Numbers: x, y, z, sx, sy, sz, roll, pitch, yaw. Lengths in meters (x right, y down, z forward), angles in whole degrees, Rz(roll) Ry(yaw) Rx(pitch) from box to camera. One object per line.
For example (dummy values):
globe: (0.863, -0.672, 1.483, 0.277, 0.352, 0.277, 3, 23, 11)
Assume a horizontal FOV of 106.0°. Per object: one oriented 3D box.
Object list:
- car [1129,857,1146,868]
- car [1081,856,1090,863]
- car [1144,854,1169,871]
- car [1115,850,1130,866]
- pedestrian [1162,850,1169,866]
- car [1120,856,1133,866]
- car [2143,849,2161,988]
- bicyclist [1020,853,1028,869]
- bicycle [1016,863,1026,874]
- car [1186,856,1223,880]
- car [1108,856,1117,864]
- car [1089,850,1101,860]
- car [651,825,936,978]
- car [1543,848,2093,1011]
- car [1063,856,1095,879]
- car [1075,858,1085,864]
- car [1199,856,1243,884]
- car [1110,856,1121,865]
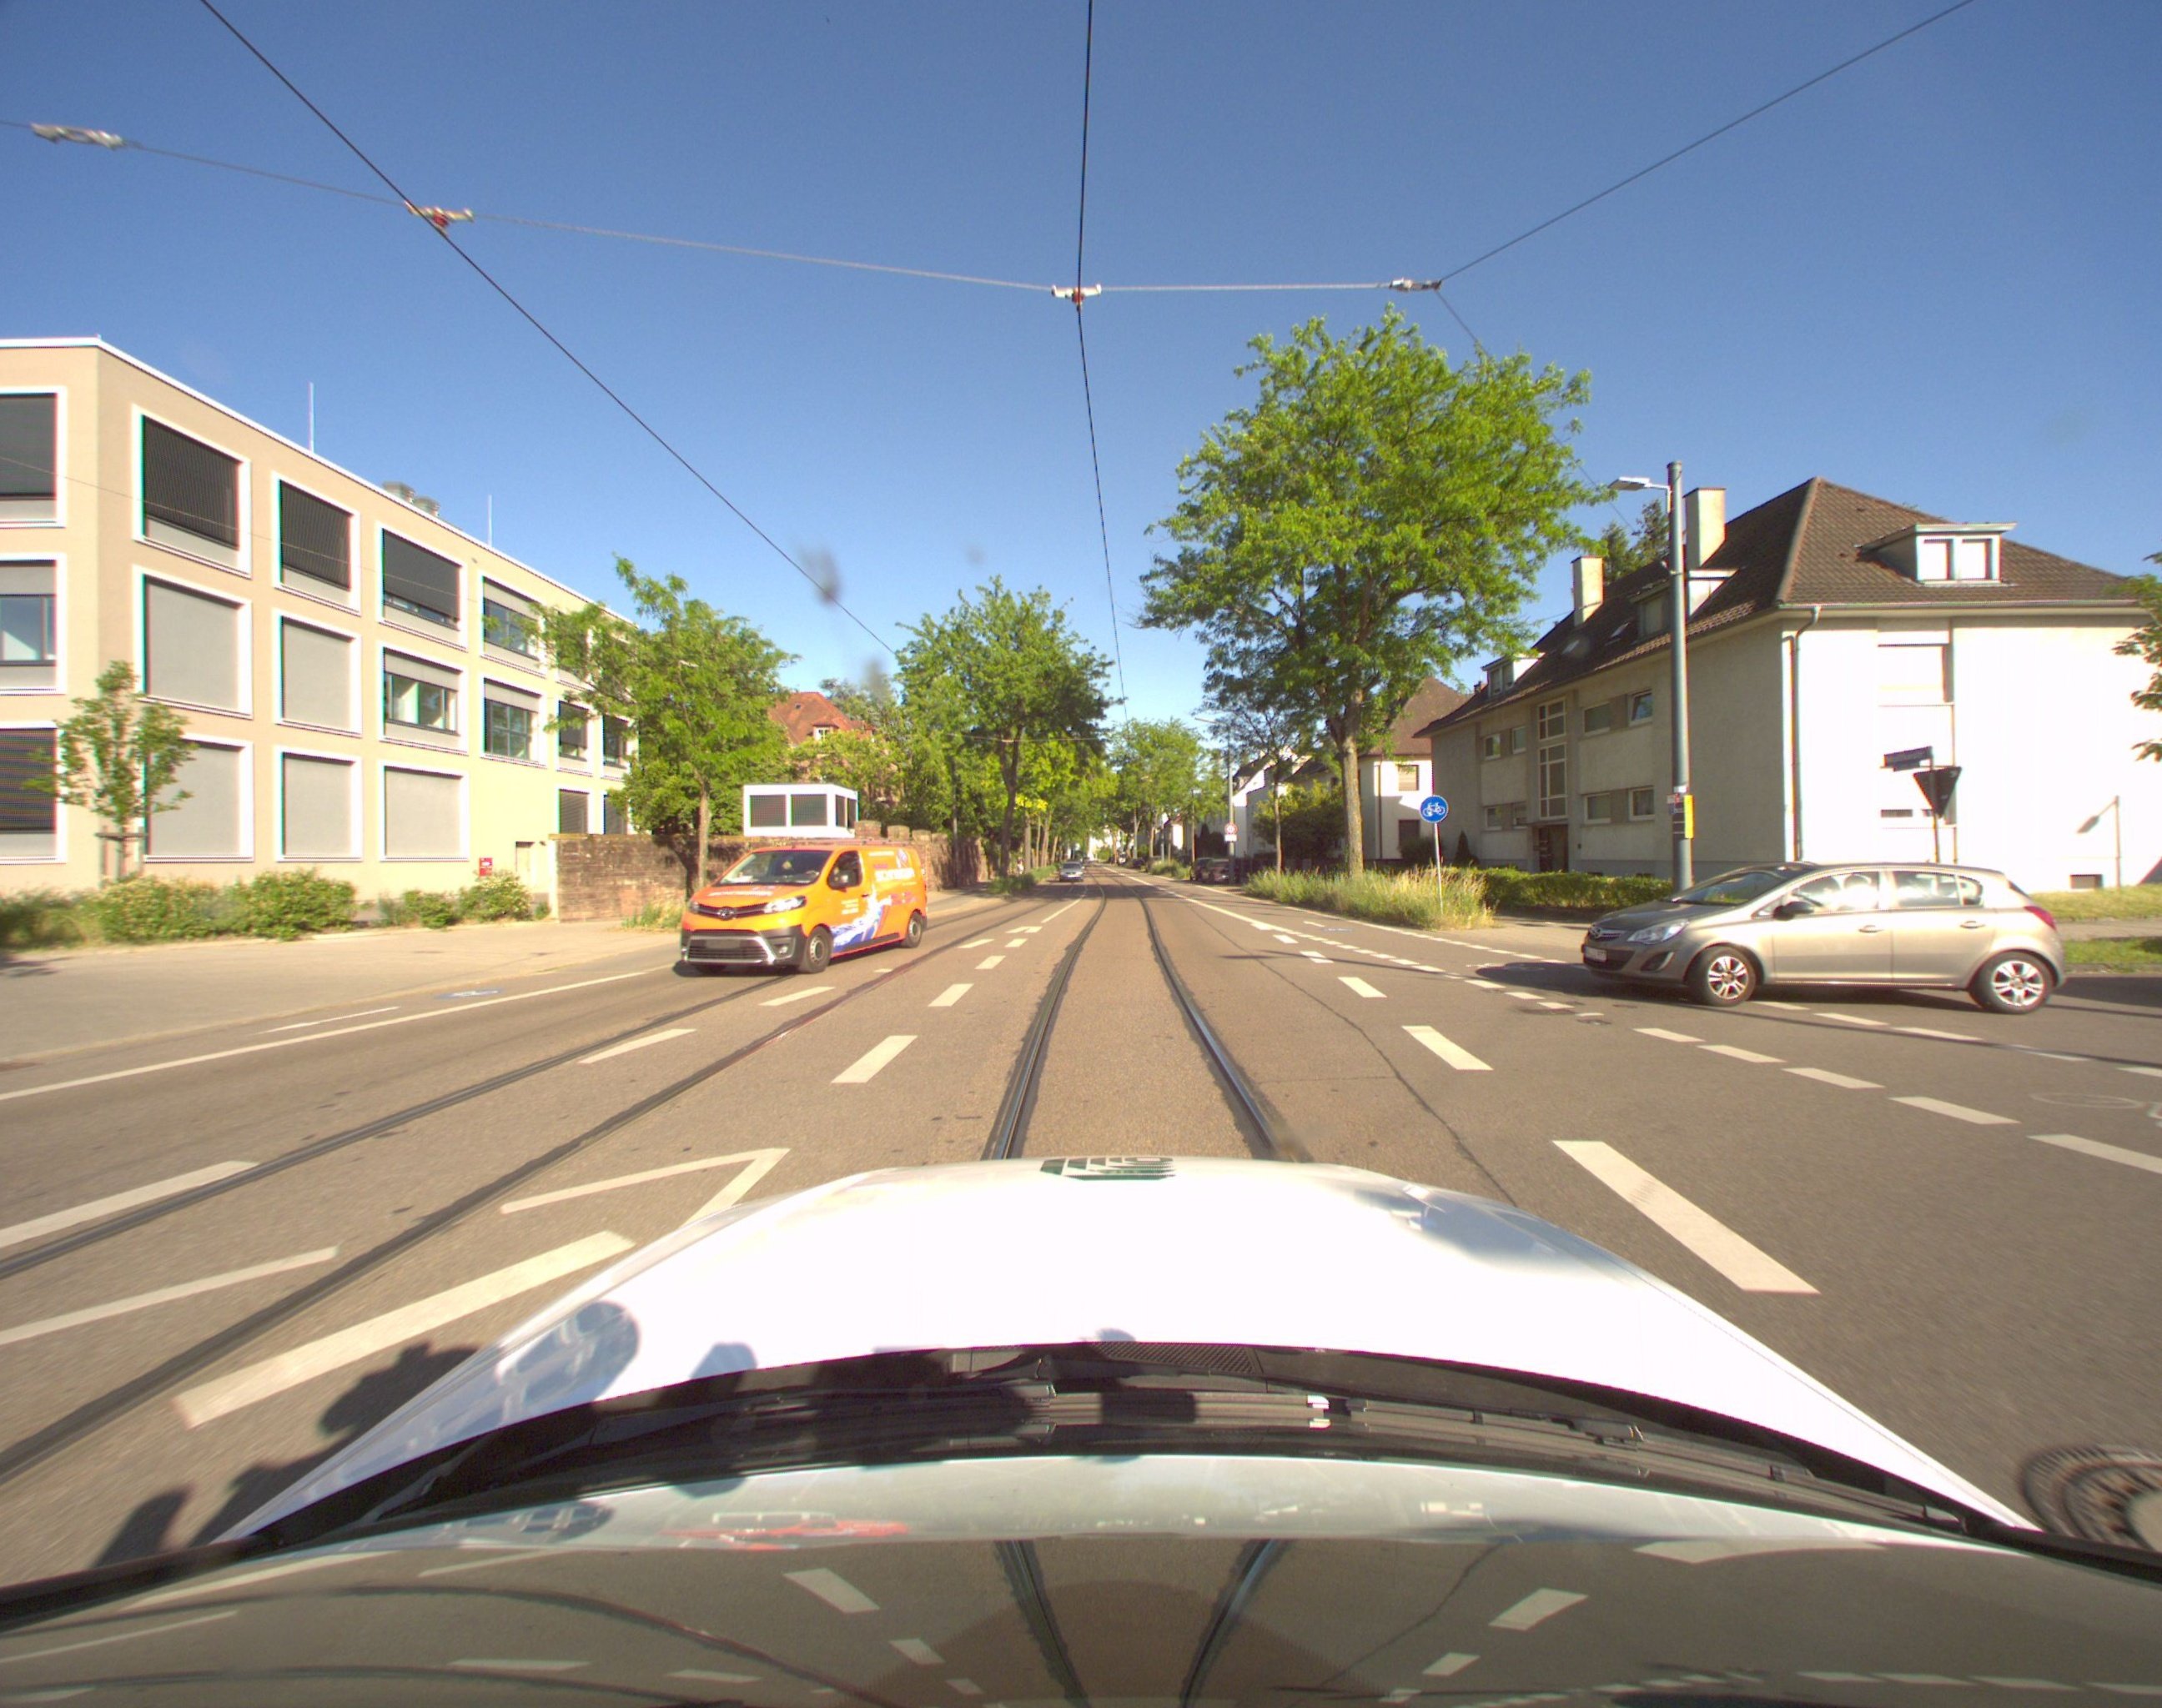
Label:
car: (7.832, 1.147, 112.719, 1.779, 1.448, 4.297, -4, 0, -2)
car: (1.094, 1.324, 201.321, 1.861, 1.675, 4.170, -2, 0, -1)
car: (7.973, 0.891, 86.168, 1.988, 1.704, 4.475, -4, 0, -1)
car: (7.283, 0.664, 143.963, 2.239, 2.654, 5.583, -3, 0, -1)
pedestrian: (10.041, 0.459, 97.249, 0.624, 1.870, 0.731, -4, 0, -1)
car: (6.869, 1.049, 122.191, 1.622, 1.397, 3.644, -4, 0, -1)
car: (13.459, 0.603, 7.314, 4.573, 1.466, 1.988, -1, -2, 11)
bicyclist: (-5.557, 0.680, 79.339, 0.591, 1.527, 1.061, -1, 0, 1)
bicycle: (-5.535, 1.303, 75.233, 0.709, 0.960, 2.094, -1, 0, 1)
car: (8.092, 0.894, 53.747, 1.743, 1.495, 3.995, -2, 0, 0)
car: (7.572, 1.399, 193.475, 1.994, 1.675, 4.396, -3, 0, 3)
car: (3.817, 0.294, 222.034, 1.996, 2.458, 4.488, -1, 0, -13)
car: (-4.224, 0.627, 13.059, 1.980, 1.966, 4.950, -1, 0, 12)
car: (7.519, 0.718, 8.785, 3.963, 1.508, 1.987, -1, 0, 9)
car: (-0.077, 0.930, 57.959, 1.985, 1.524, 4.583, -1, 0, 3)
car: (-0.222, 2.127, 247.031, 2.005, 1.560, 4.373, -1, 0, -13)
car: (8.126, 0.892, 47.740, 1.743, 1.495, 4.442, -2, 0, 0)
car: (7.431, 1.380, 175.931, 1.997, 1.675, 4.391, -3, 0, -1)
